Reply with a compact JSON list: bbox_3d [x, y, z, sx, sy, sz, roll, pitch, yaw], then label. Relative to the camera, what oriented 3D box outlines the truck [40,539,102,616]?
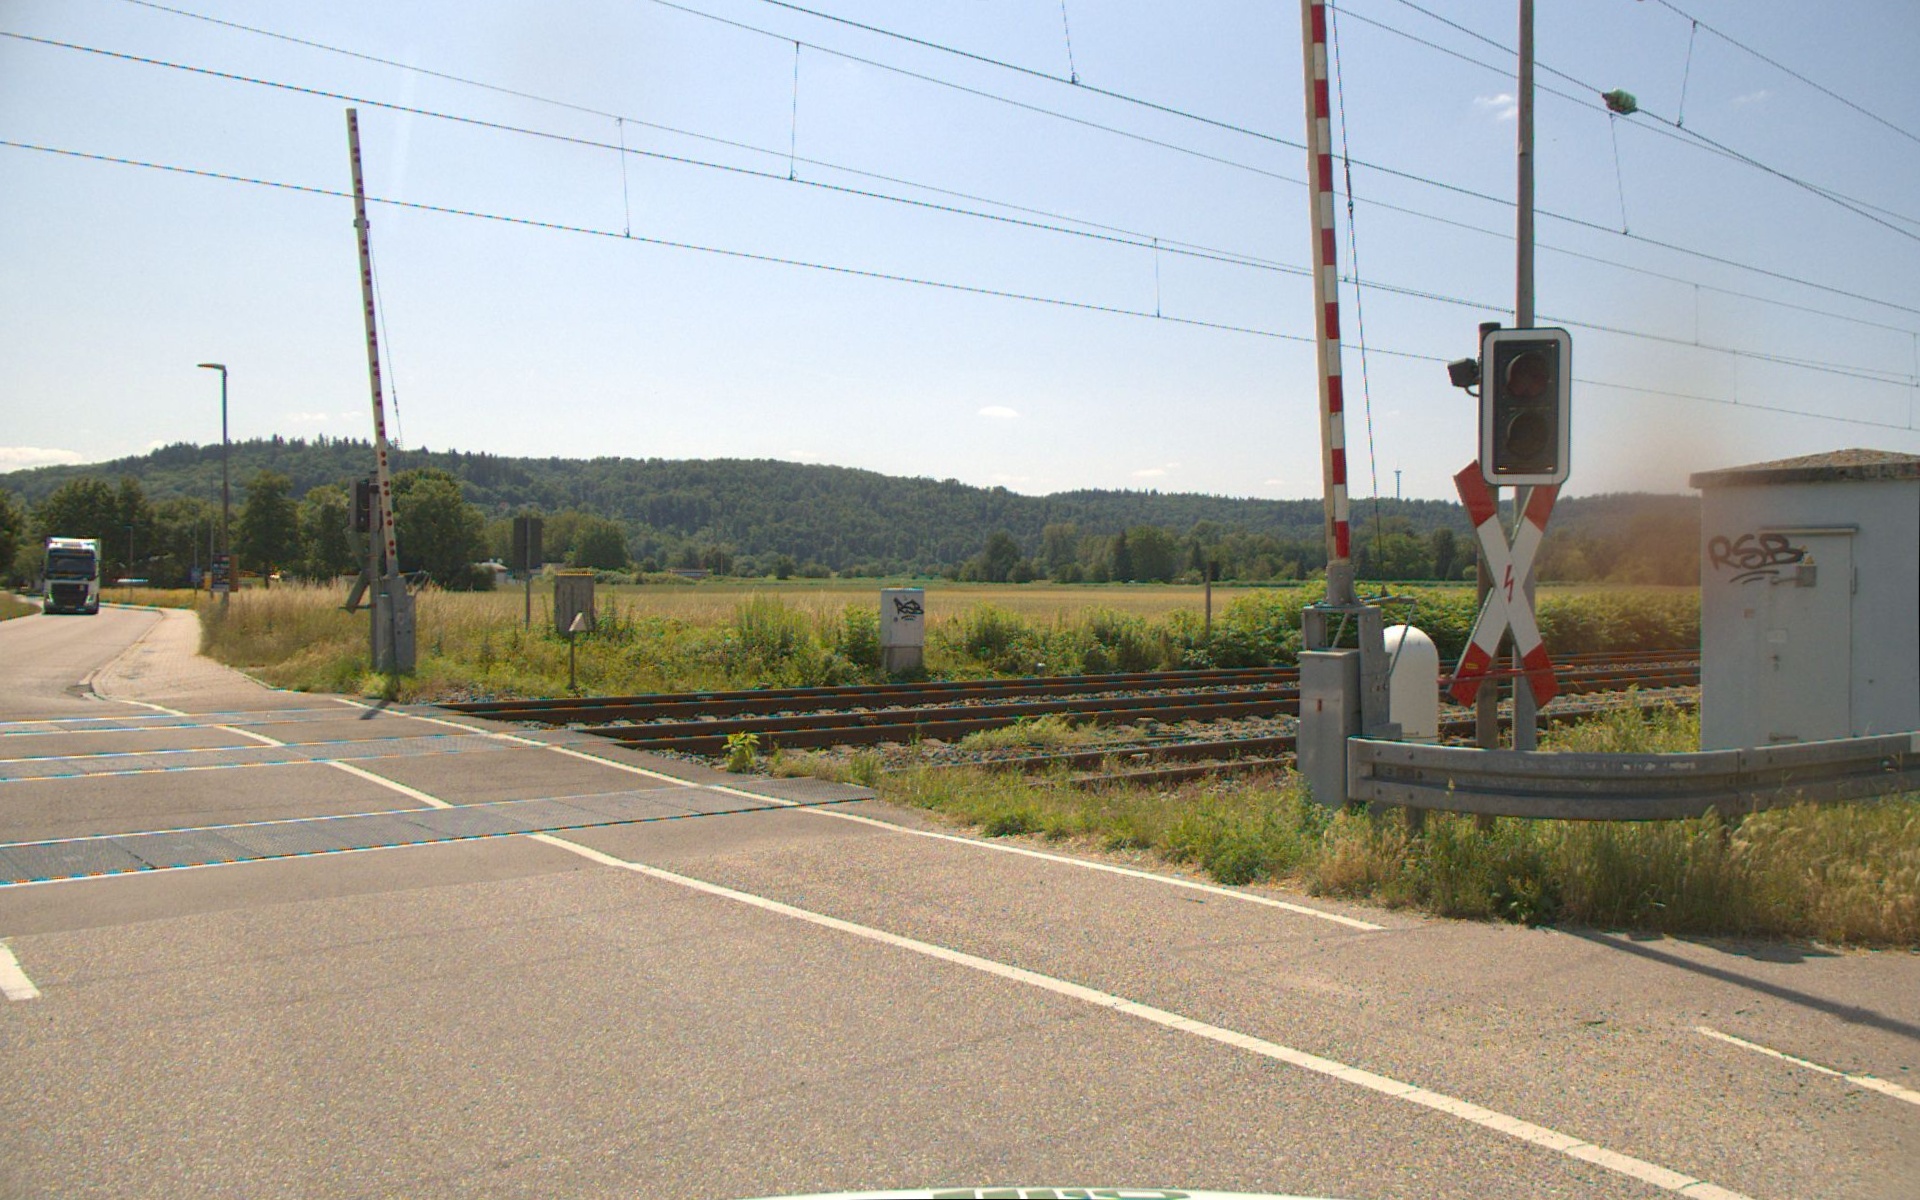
[{"bbox_3d":[-48.149,-1.204,89.684,2.538,4.017,5.992,-1,1,-25],"label":"truck"}]
